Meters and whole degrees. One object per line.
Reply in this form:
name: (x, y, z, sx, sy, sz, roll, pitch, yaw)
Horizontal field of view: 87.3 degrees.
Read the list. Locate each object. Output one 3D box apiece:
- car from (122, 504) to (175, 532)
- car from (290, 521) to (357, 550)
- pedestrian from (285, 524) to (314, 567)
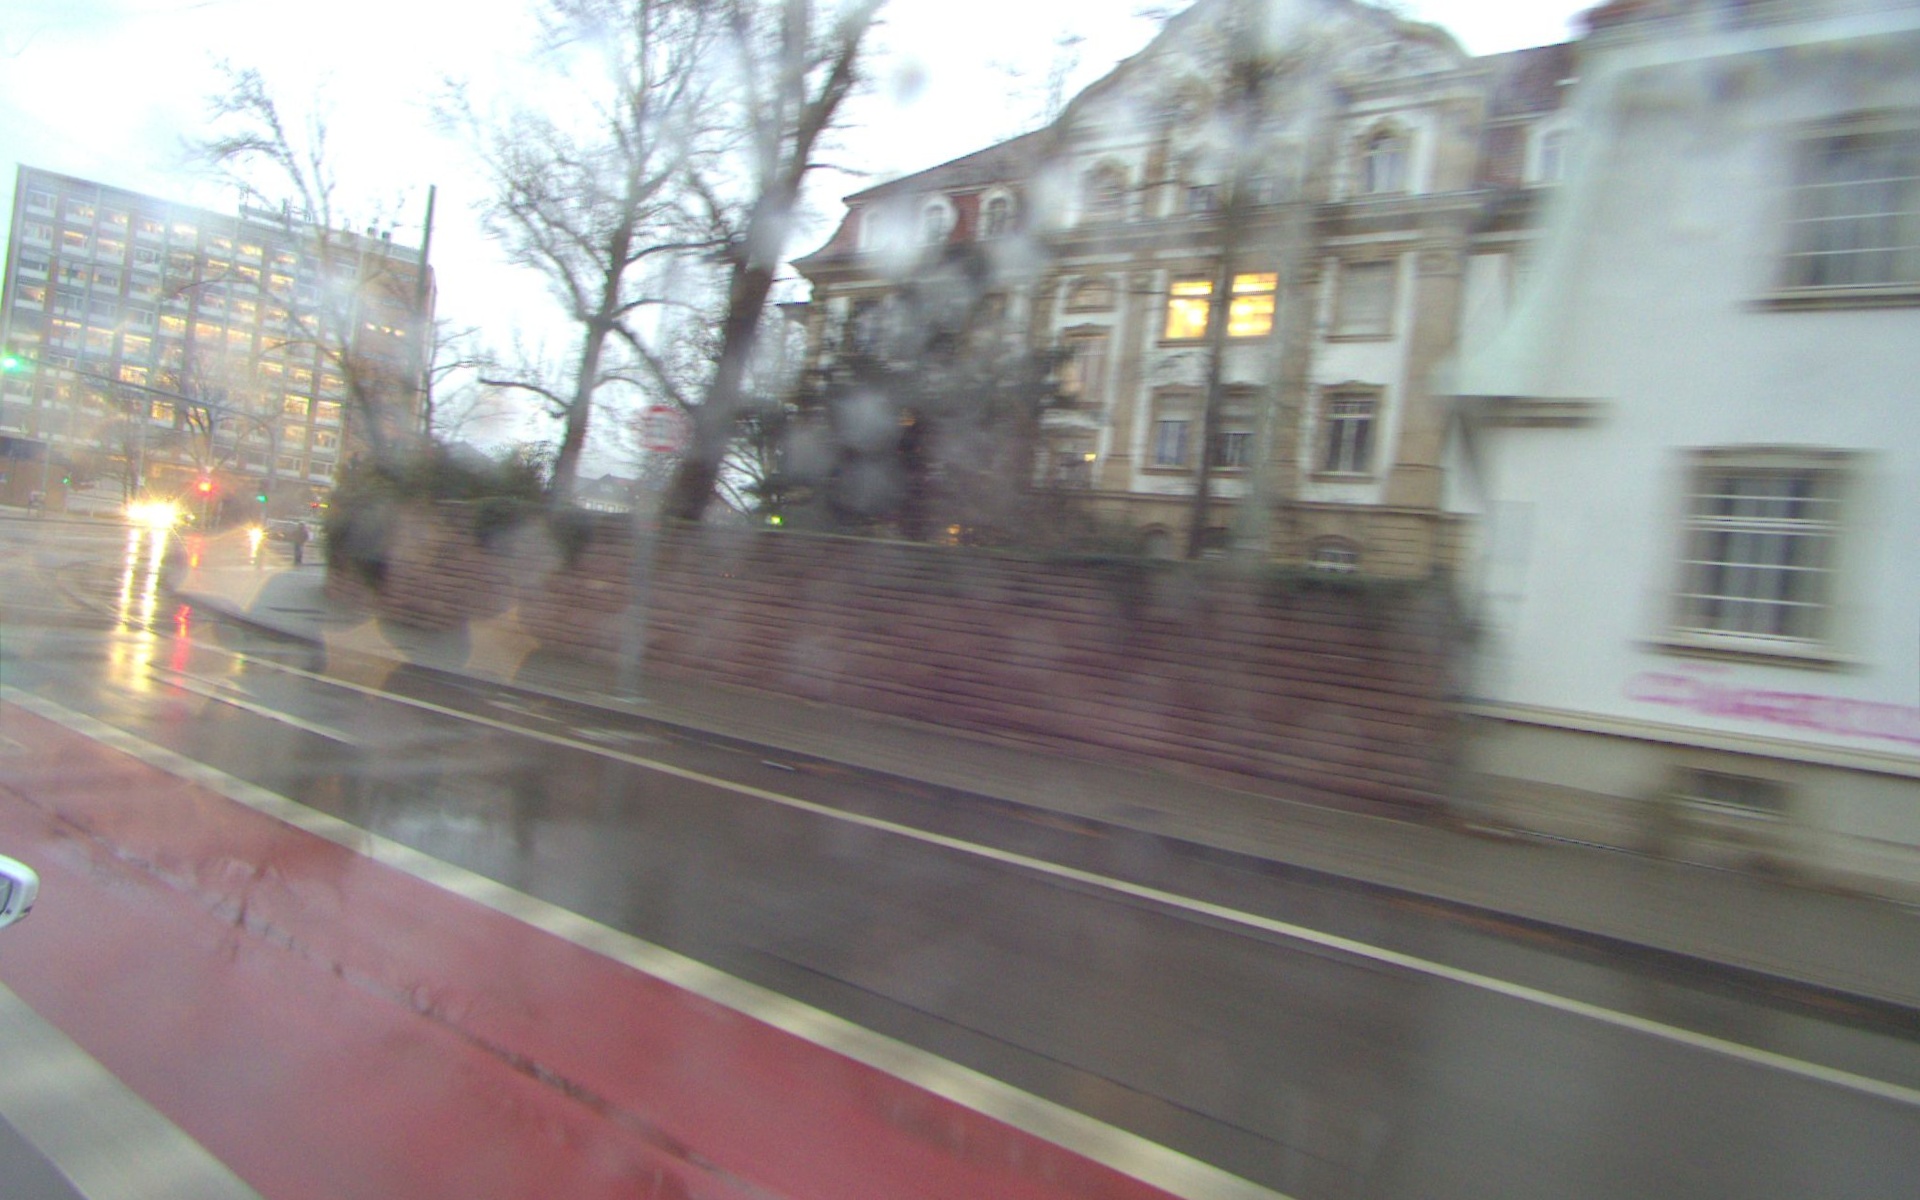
car: (-57.276, -5.739, 71.095, 1.737, 1.683, 4.501, 6, 1, -25)
car: (-67.673, -6.816, 107.085, 5.487, 2.047, 1.993, 9, -2, -19)
pedestrian: (-27.883, -2.299, 42.459, 0.801, 1.706, 1.143, 5, 2, -41)
